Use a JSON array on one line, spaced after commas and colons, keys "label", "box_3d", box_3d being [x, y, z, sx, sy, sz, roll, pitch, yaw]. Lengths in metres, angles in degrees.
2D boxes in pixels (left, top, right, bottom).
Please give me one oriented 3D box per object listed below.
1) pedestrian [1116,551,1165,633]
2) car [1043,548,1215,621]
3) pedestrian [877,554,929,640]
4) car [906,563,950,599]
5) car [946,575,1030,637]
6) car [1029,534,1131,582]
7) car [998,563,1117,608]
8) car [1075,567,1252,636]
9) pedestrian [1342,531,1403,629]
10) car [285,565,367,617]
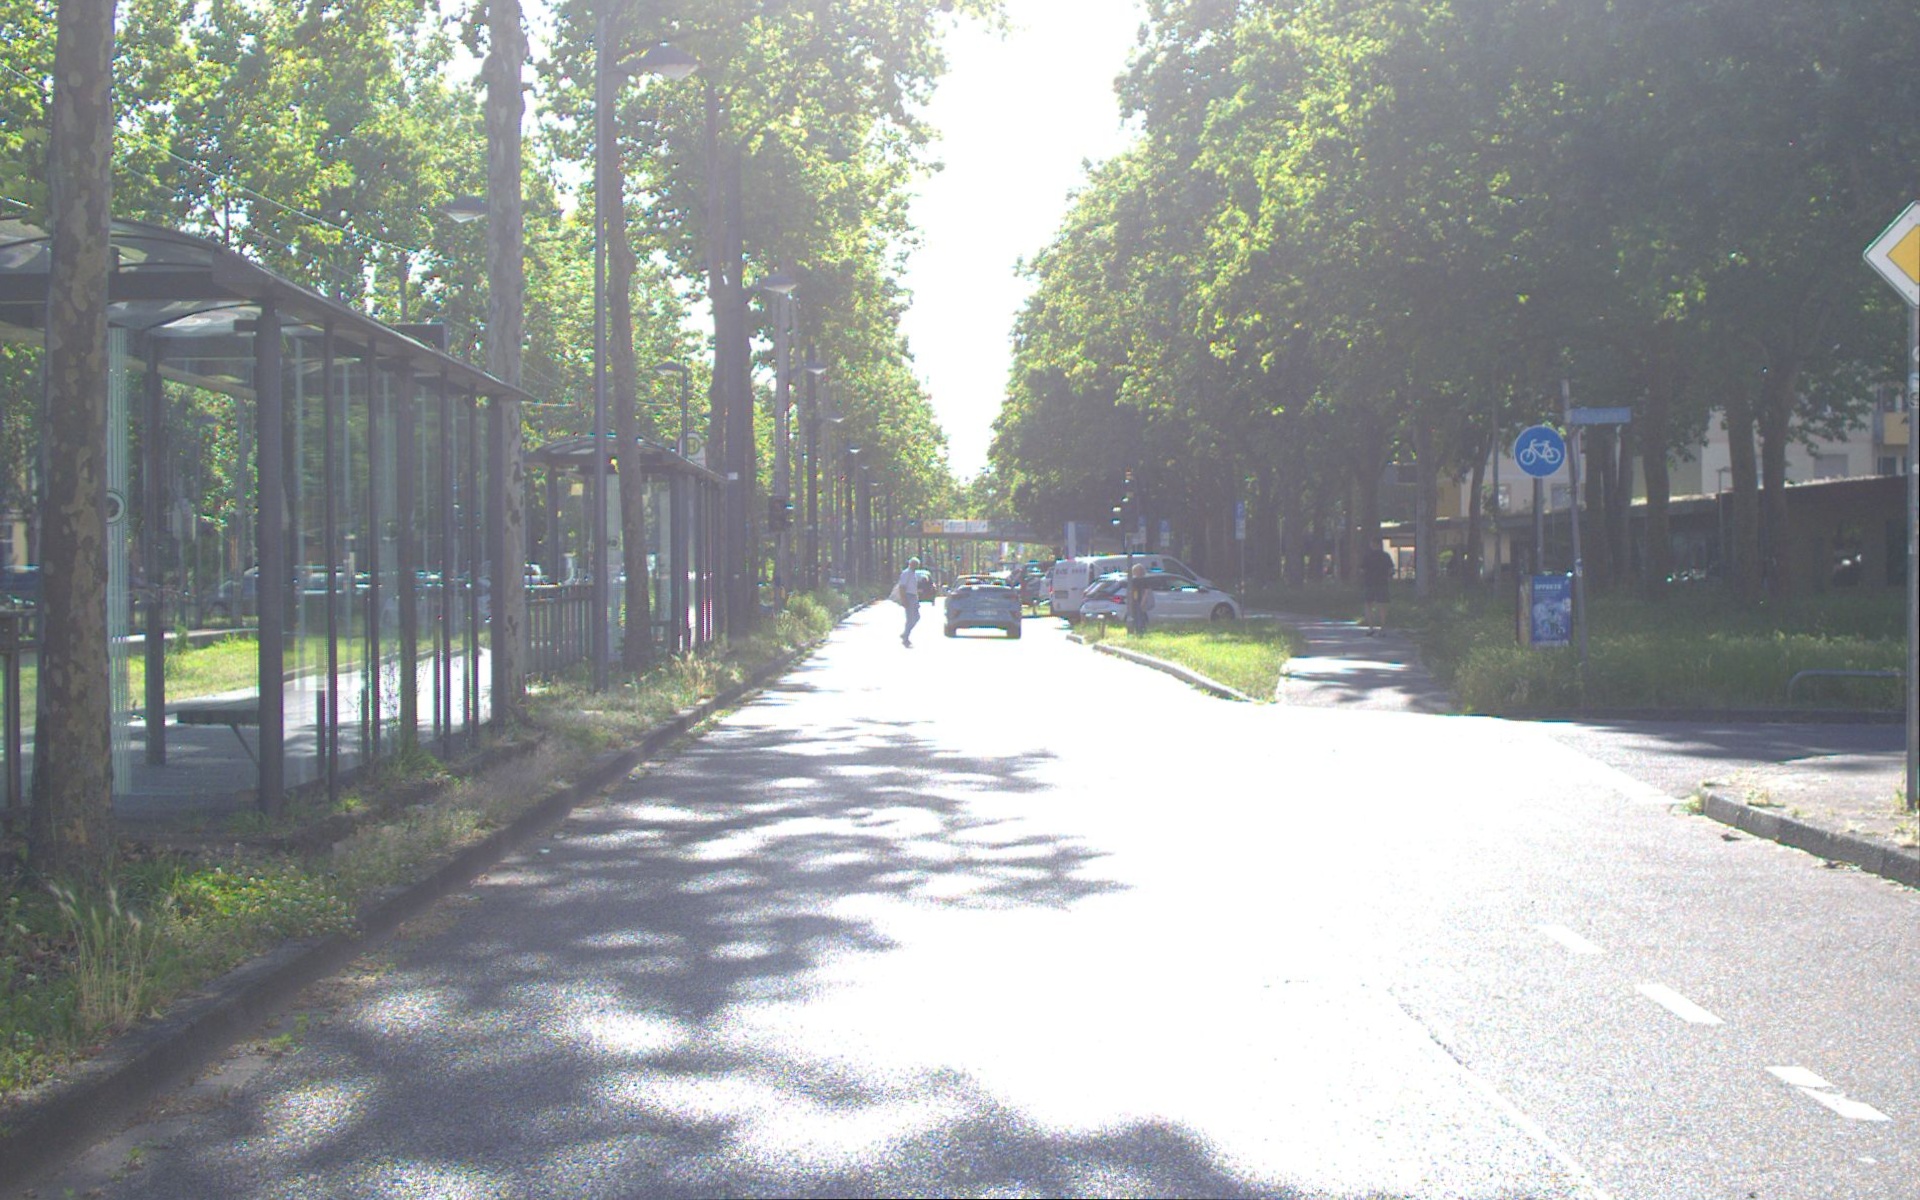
[{"label": "pedestrian", "box_3d": [3.803, -0.167, 72.528, 0.710, 1.700, 0.654, -2, 0, -35]}, {"label": "car", "box_3d": [4.663, -0.429, 94.456, 4.657, 1.846, 1.830, -2, 1, -40]}, {"label": "pedestrian", "box_3d": [-1.148, -0.067, 69.787, 0.842, 1.716, 0.829, -1, 1, 15]}, {"label": "car", "box_3d": [-1.372, -0.821, 149.587, 1.849, 1.530, 3.866, 0, 1, 0]}, {"label": "car", "box_3d": [0.640, 0.132, 82.903, 1.922, 1.406, 4.000, 0, 1, -1]}, {"label": "car", "box_3d": [4.902, -1.714, 140.038, 4.073, 1.804, 1.650, -2, 1, -40]}, {"label": "car", "box_3d": [3.232, -0.477, 113.749, 3.928, 1.368, 1.587, -2, 1, -44]}, {"label": "car", "box_3d": [4.997, 0.024, 84.156, 3.986, 1.464, 1.761, -3, 1, -31]}, {"label": "pedestrian", "box_3d": [7.922, -0.389, 66.074, 0.925, 1.878, 0.800, 0, 1, -14]}, {"label": "car", "box_3d": [-19.814, -0.292, 107.624, 1.714, 1.540, 3.933, -1, 1, 2]}]
